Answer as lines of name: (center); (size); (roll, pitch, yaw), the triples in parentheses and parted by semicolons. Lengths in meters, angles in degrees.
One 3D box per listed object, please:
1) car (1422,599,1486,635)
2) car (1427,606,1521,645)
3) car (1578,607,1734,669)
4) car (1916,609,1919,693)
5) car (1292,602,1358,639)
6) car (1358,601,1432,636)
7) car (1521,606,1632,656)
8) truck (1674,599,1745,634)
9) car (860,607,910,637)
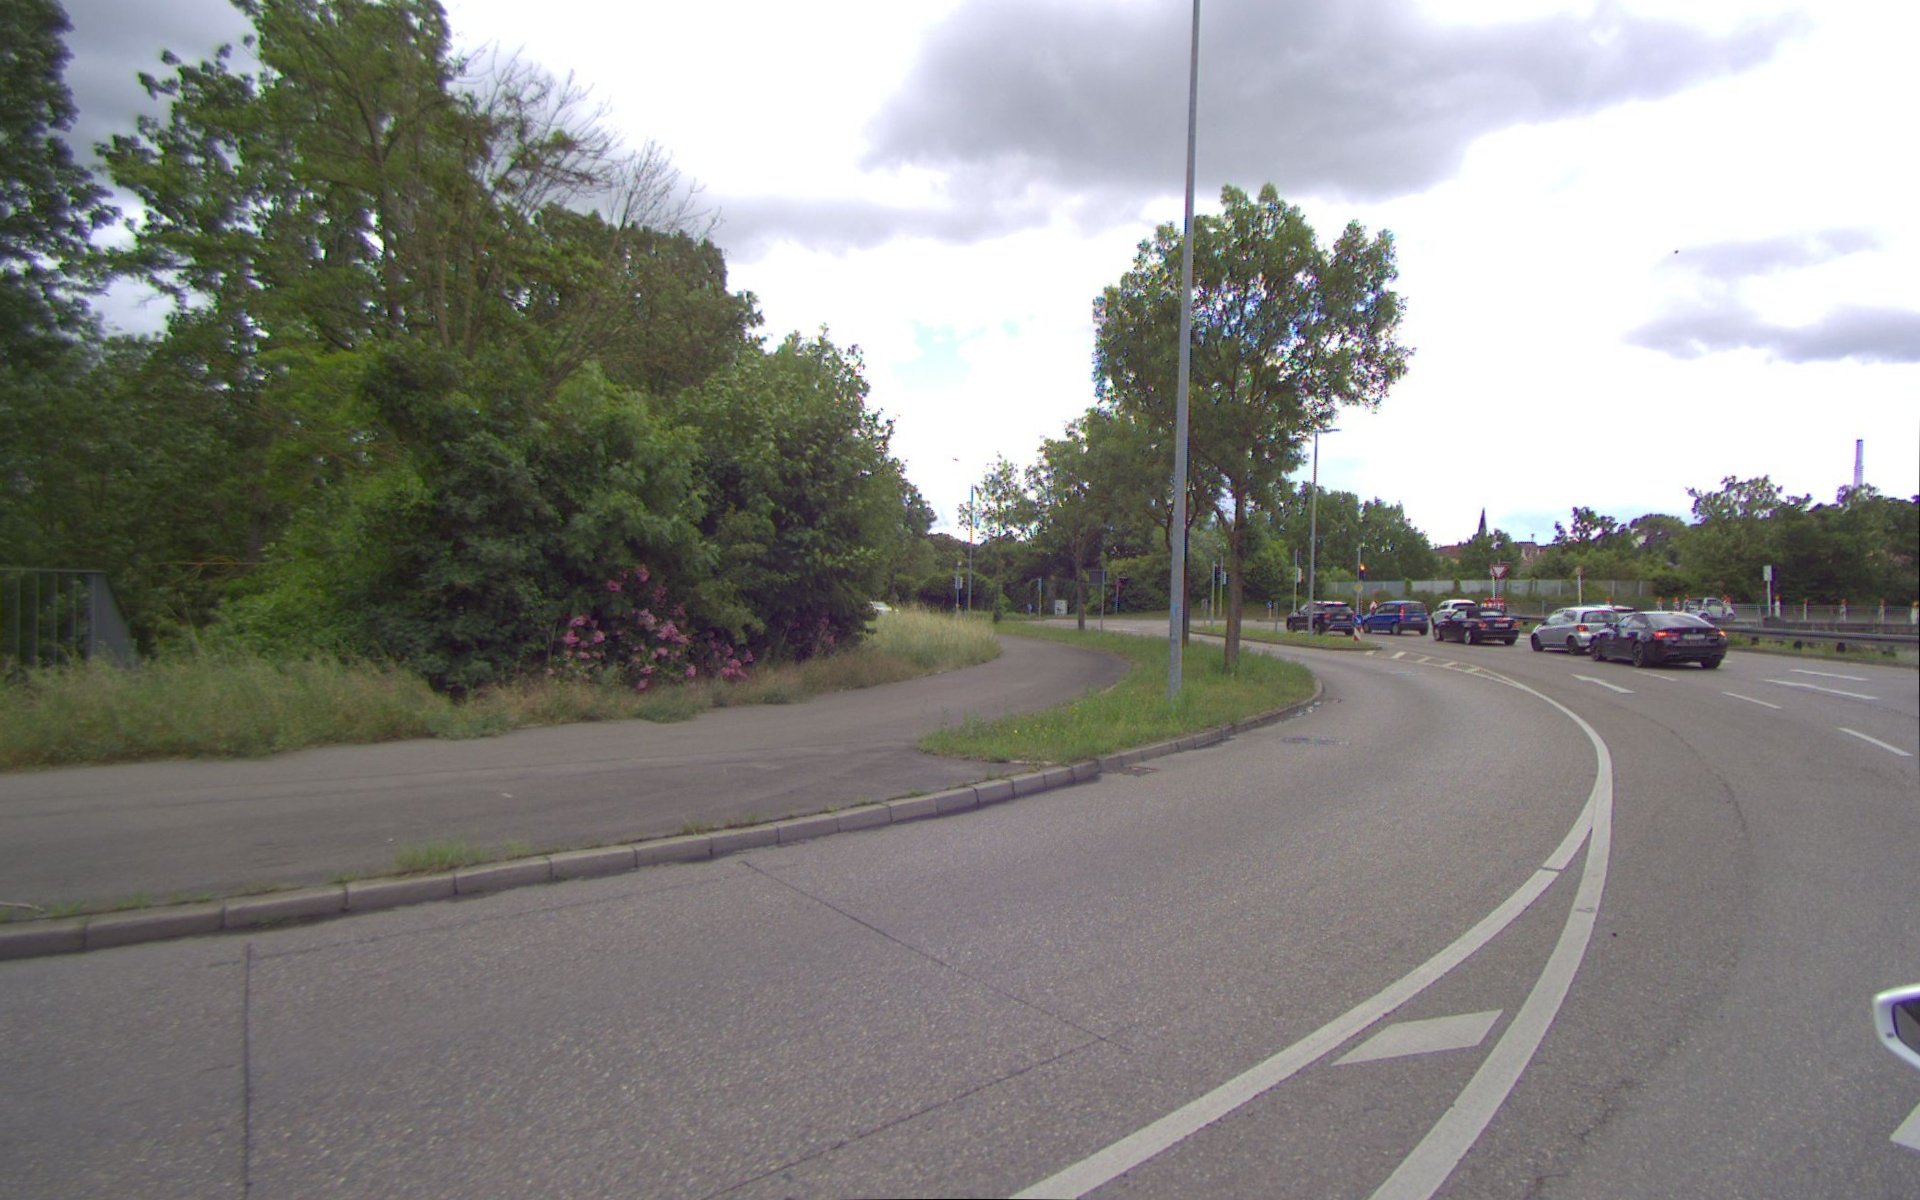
car: (25.164, 0.856, 51.306); (1.682, 1.697, 4.003); (1, -1, 8)
car: (19.975, 0.957, 39.199); (1.537, 1.386, 4.084); (-2, 0, 0)
car: (19.218, 0.994, 28.013); (1.841, 1.496, 4.966); (-1, 0, 13)
car: (17.883, 0.970, 17.027); (1.773, 1.573, 3.988); (0, 0, 34)
car: (16.774, 0.891, 46.341); (1.629, 1.527, 3.769); (-2, 1, -1)
car: (20.041, 0.826, 46.378); (1.520, 1.527, 3.374); (-1, 0, -10)
car: (20.365, 0.977, 33.343); (1.640, 1.489, 3.630); (-2, 0, 5)
truck: (48.109, 1.061, 64.528); (3.164, 2.040, 1.740); (3, 1, -2)
car: (-5.975, 1.721, 79.910); (1.918, 2.021, 4.276); (2, 1, -37)
